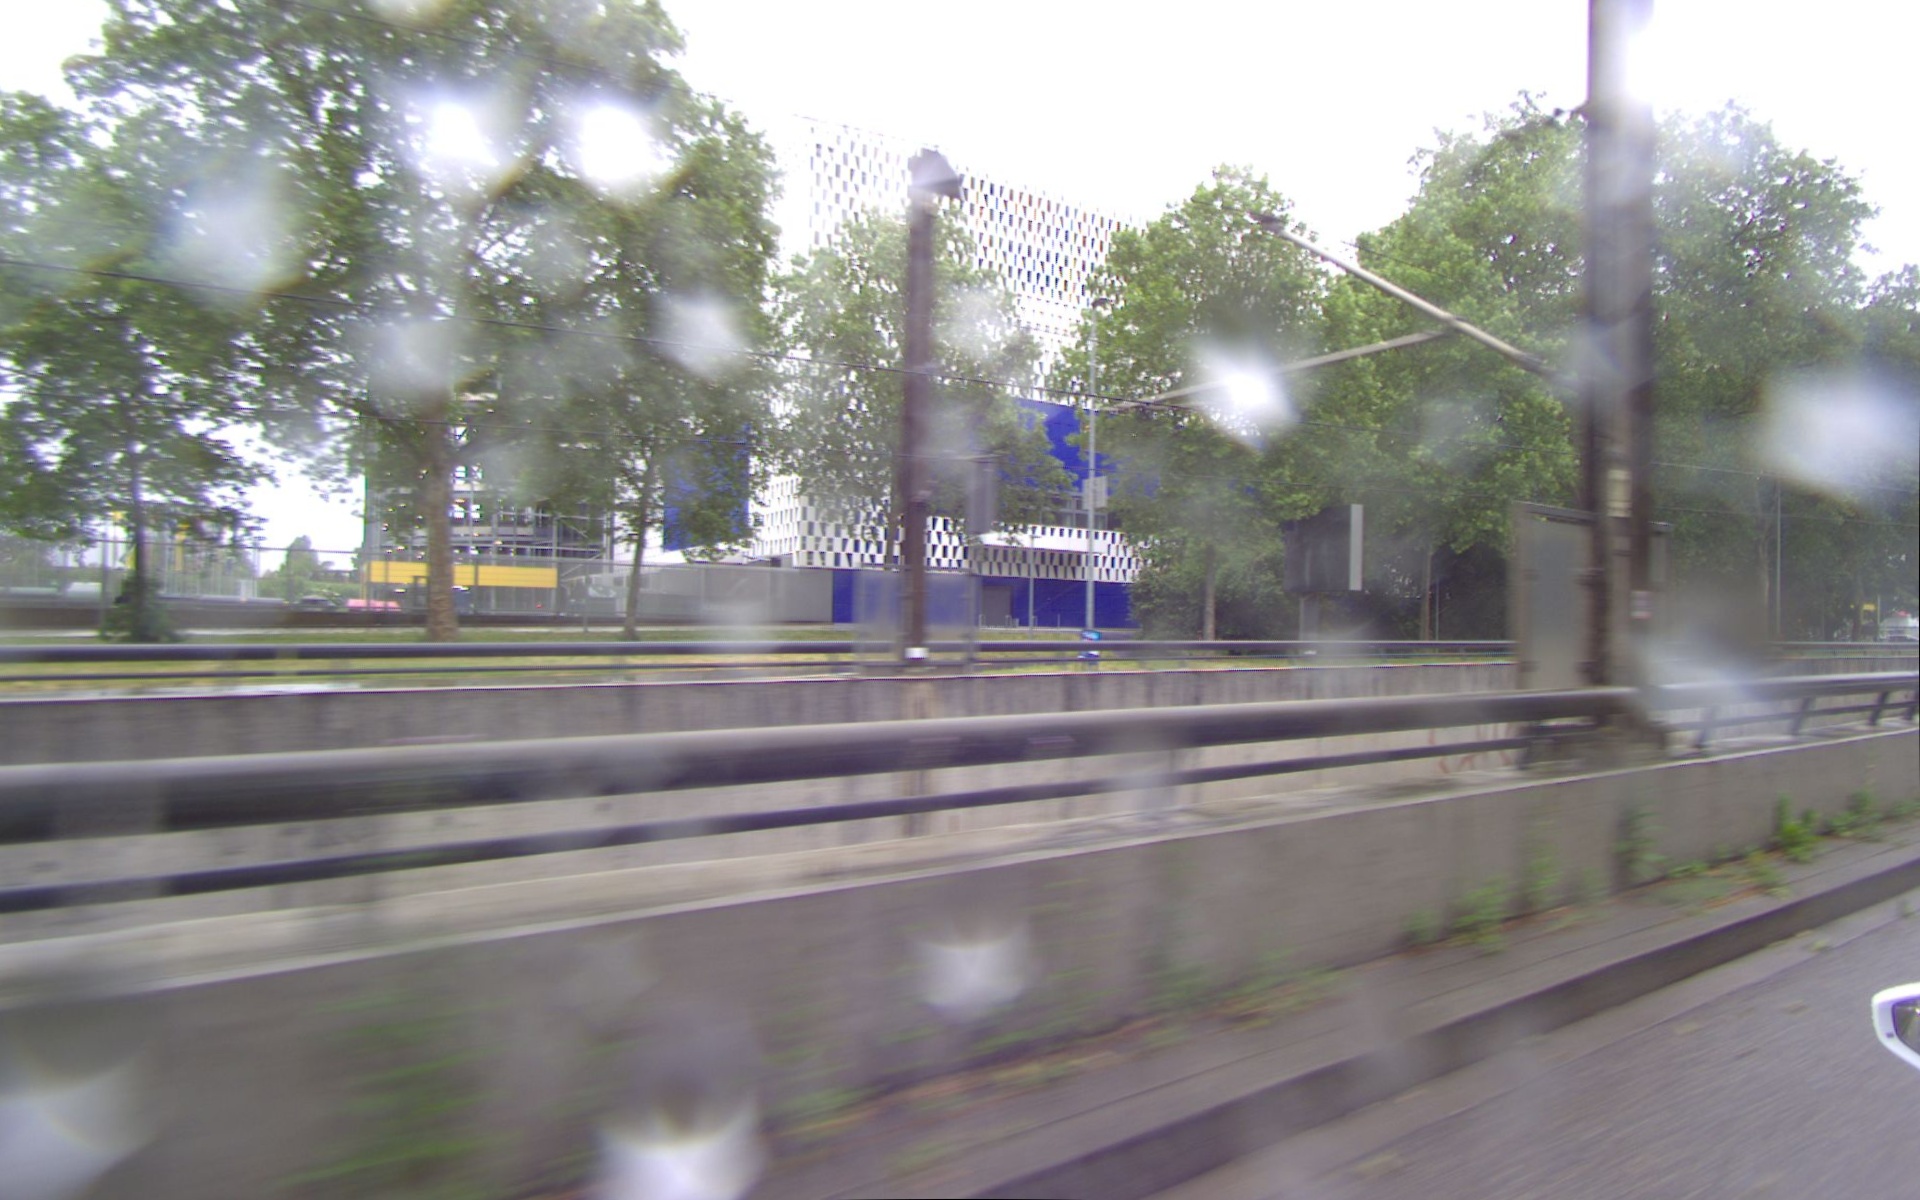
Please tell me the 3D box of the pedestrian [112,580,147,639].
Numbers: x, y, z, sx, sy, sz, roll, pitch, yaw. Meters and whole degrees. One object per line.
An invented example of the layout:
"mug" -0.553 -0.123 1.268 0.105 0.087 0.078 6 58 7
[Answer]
"pedestrian" -29.599 0.337 35.804 0.781 2.041 0.996 1 1 -30
